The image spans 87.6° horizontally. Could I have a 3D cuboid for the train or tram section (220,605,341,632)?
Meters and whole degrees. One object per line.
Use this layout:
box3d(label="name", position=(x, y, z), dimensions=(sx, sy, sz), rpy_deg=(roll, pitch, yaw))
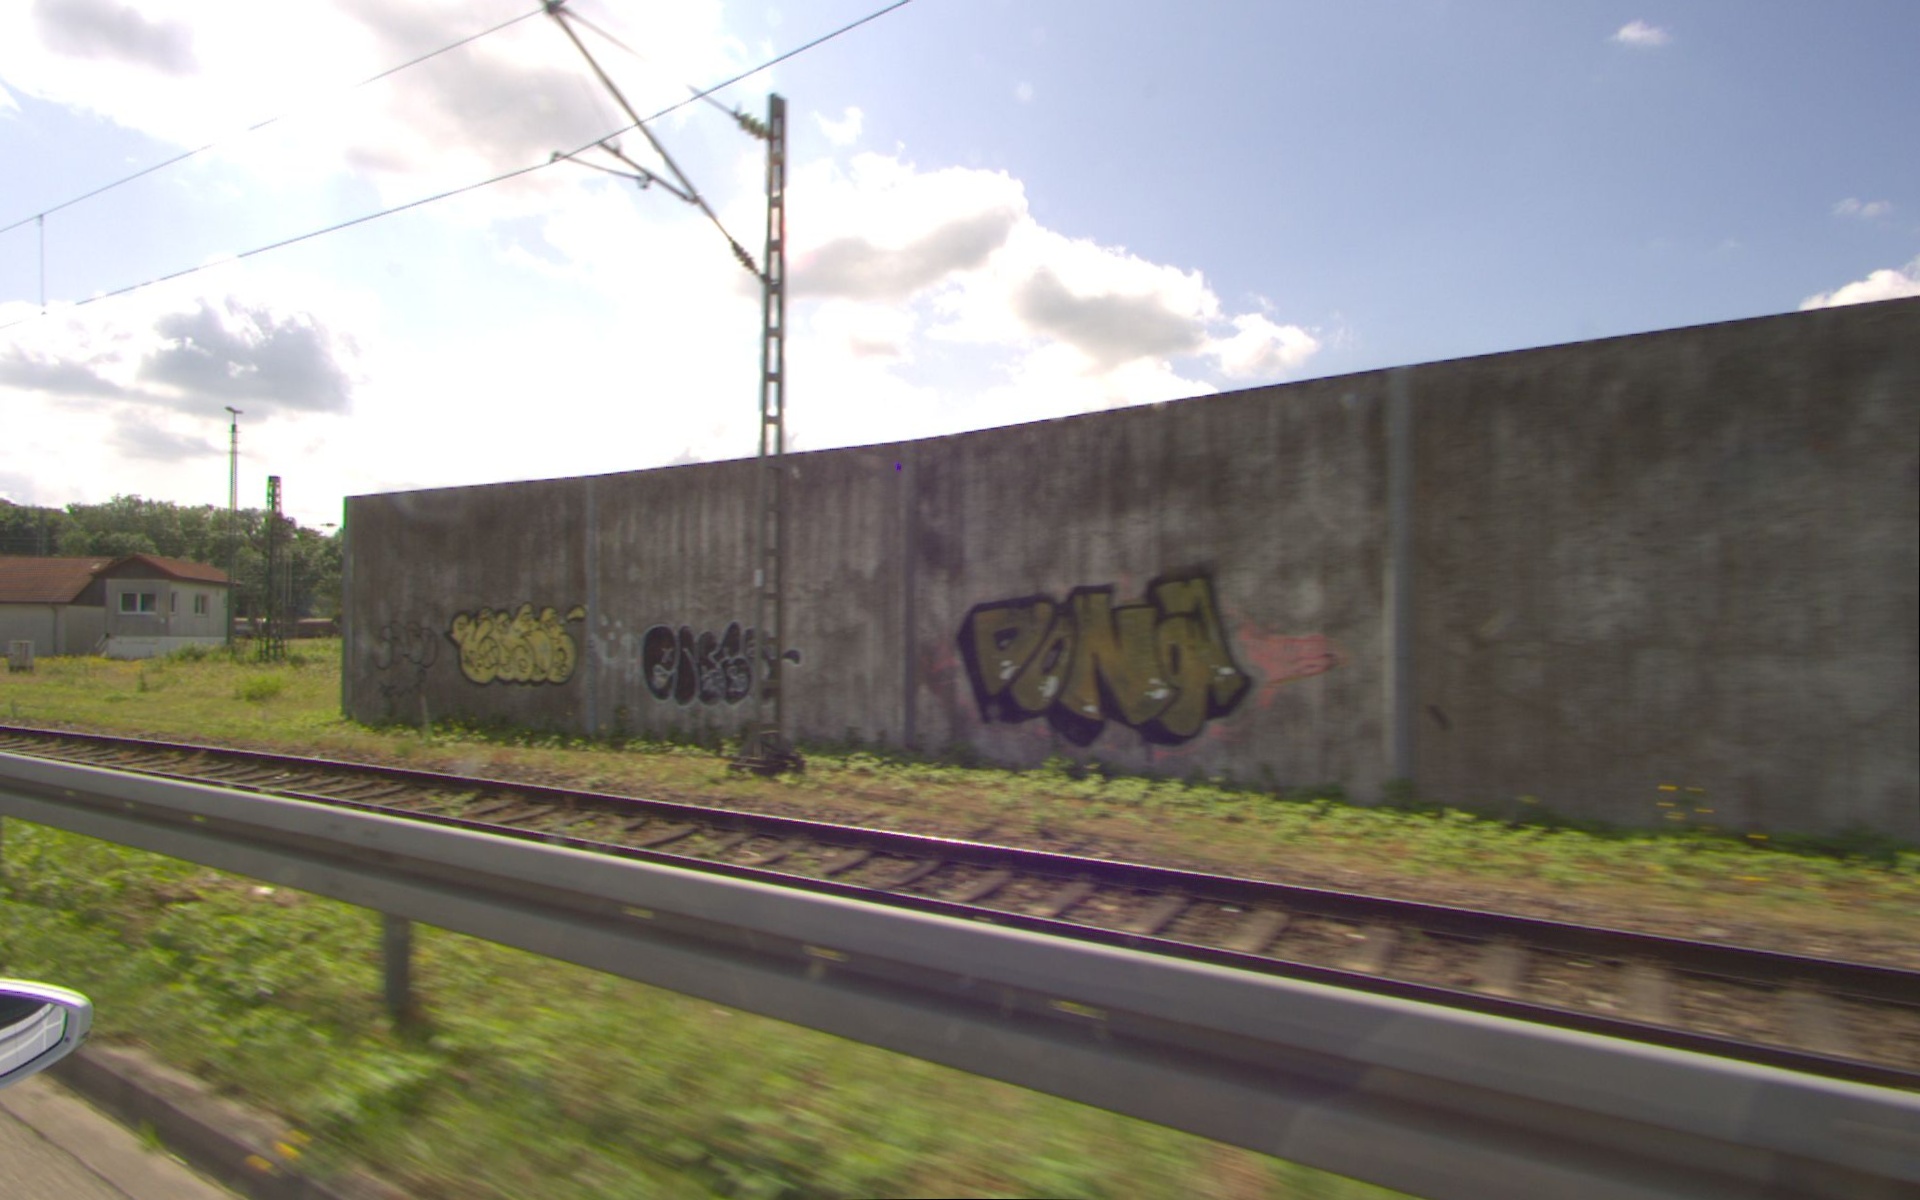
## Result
box3d(label="train or tram section", position=(-95.540, 2.646, 141.142), dimensions=(13.696, 3.347, 3.029), rpy_deg=(2, -2, -18))
